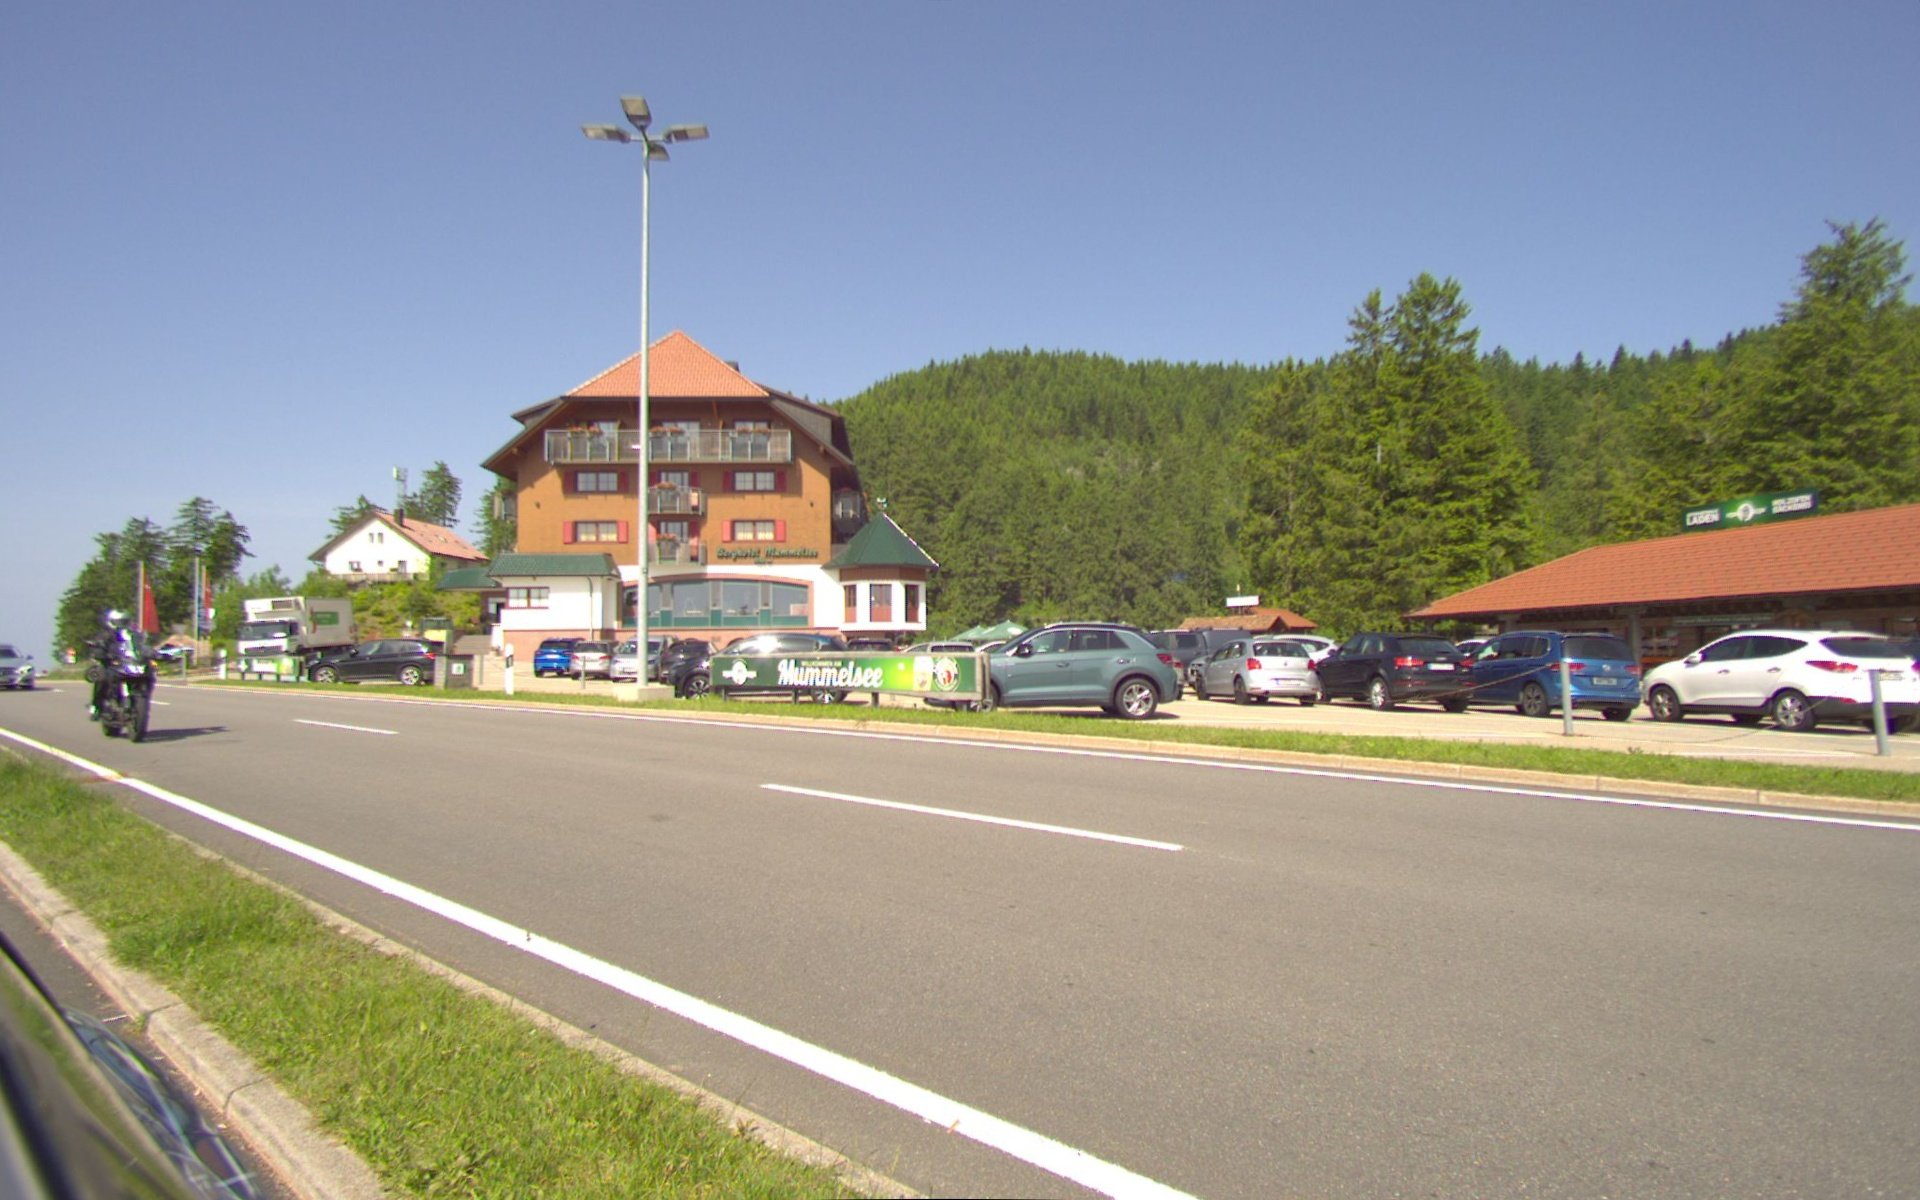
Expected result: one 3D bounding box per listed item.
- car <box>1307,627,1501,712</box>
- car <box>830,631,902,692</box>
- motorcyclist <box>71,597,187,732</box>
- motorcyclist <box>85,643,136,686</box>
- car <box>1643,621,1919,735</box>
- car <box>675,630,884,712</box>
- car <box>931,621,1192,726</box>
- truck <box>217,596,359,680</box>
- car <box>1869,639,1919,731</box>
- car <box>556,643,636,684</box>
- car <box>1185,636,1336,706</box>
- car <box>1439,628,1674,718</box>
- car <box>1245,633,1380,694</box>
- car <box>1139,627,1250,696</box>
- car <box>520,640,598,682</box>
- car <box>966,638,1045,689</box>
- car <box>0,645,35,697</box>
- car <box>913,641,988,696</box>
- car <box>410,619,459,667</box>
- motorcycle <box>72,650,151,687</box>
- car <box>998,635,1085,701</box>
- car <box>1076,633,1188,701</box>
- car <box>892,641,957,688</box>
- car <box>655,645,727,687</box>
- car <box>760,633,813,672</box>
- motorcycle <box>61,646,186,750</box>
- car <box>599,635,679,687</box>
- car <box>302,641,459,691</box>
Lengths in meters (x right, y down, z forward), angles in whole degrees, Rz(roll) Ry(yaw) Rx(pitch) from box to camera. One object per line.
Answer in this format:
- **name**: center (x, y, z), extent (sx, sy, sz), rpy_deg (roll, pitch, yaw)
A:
- **car**: center (9.044, 1.441, 21.040), extent (1.970, 1.586, 4.003), rpy_deg (0, -4, -5)
- **car**: center (-2.817, 1.896, 31.021), extent (1.801, 1.717, 3.998), rpy_deg (-1, -4, 0)
- **motorcyclist**: center (-11.267, 0.847, 13.719), extent (1.450, 1.731, 0.914), rpy_deg (-2, -2, 39)
- **motorcyclist**: center (-35.315, 2.665, 42.092), extent (1.053, 1.733, 1.243), rpy_deg (-1, -2, 11)
- **car**: center (13.950, 1.297, 17.123), extent (1.749, 1.685, 4.035), rpy_deg (1, -4, -6)
- **car**: center (-3.612, 1.448, 20.754), extent (3.945, 1.564, 1.782), rpy_deg (-1, -3, 2)
- **car**: center (1.566, 1.167, 16.621), extent (3.999, 1.579, 1.741), rpy_deg (0, -2, -3)
- **truck**: center (-35.796, 1.949, 54.362), extent (3.020, 4.002, 8.790), rpy_deg (-3, -1, -10)
- **car**: center (16.467, 1.314, 15.167), extent (1.749, 1.479, 4.030), rpy_deg (1, -4, -6)
- **car**: center (-14.599, 2.568, 40.810), extent (1.970, 1.558, 4.002), rpy_deg (-1, -4, -3)
- **car**: center (6.619, 1.583, 22.784), extent (1.879, 1.431, 4.003), rpy_deg (0, -4, -5)
- **car**: center (11.543, 1.426, 19.968), extent (1.970, 1.586, 4.003), rpy_deg (0, -4, -5)
- **car**: center (9.831, 1.802, 28.567), extent (1.969, 1.586, 4.006), rpy_deg (0, -4, -7)
- **car**: center (6.959, 1.855, 30.483), extent (1.969, 1.918, 4.006), rpy_deg (0, -4, -7)
- **car**: center (-17.030, 2.588, 43.205), extent (1.910, 1.676, 4.550), rpy_deg (0, -3, -5)
- **car**: center (1.445, 2.118, 33.688), extent (1.969, 1.564, 4.006), rpy_deg (0, -4, -7)
- **car**: center (-29.172, 2.137, 30.218), extent (3.997, 1.468, 1.758), rpy_deg (-4, -5, 40)
- **car**: center (-0.345, 1.902, 28.212), extent (1.785, 1.381, 4.004), rpy_deg (0, -4, -5)
- **car**: center (-29.073, 2.407, 55.966), extent (1.966, 2.515, 4.010), rpy_deg (2, -5, -33)
- **motorcycle**: center (-35.288, 2.828, 42.150), extent (0.995, 1.417, 2.436), rpy_deg (-1, -2, 11)
- **car**: center (2.088, 1.810, 26.924), extent (1.709, 1.600, 3.736), rpy_deg (0, -4, -4)
- **car**: center (4.207, 1.679, 25.414), extent (1.871, 1.557, 4.003), rpy_deg (0, -4, -4)
- **car**: center (-1.335, 2.313, 36.194), extent (1.969, 1.564, 4.006), rpy_deg (0, -4, -7)
- **car**: center (-9.698, 2.399, 36.742), extent (1.885, 1.441, 4.004), rpy_deg (0, -4, -5)
- **car**: center (-6.861, 2.122, 40.315), extent (1.905, 1.494, 4.006), rpy_deg (0, -4, -7)
- **motorcycle**: center (-11.355, 1.275, 13.712), extent (2.274, 1.266, 0.867), rpy_deg (-2, -2, 39)
- **car**: center (-12.385, 2.367, 39.339), extent (1.808, 1.878, 4.532), rpy_deg (-1, -4, -2)
- **car**: center (-19.133, 2.179, 33.555), extent (4.129, 1.552, 1.809), rpy_deg (0, -4, -4)
